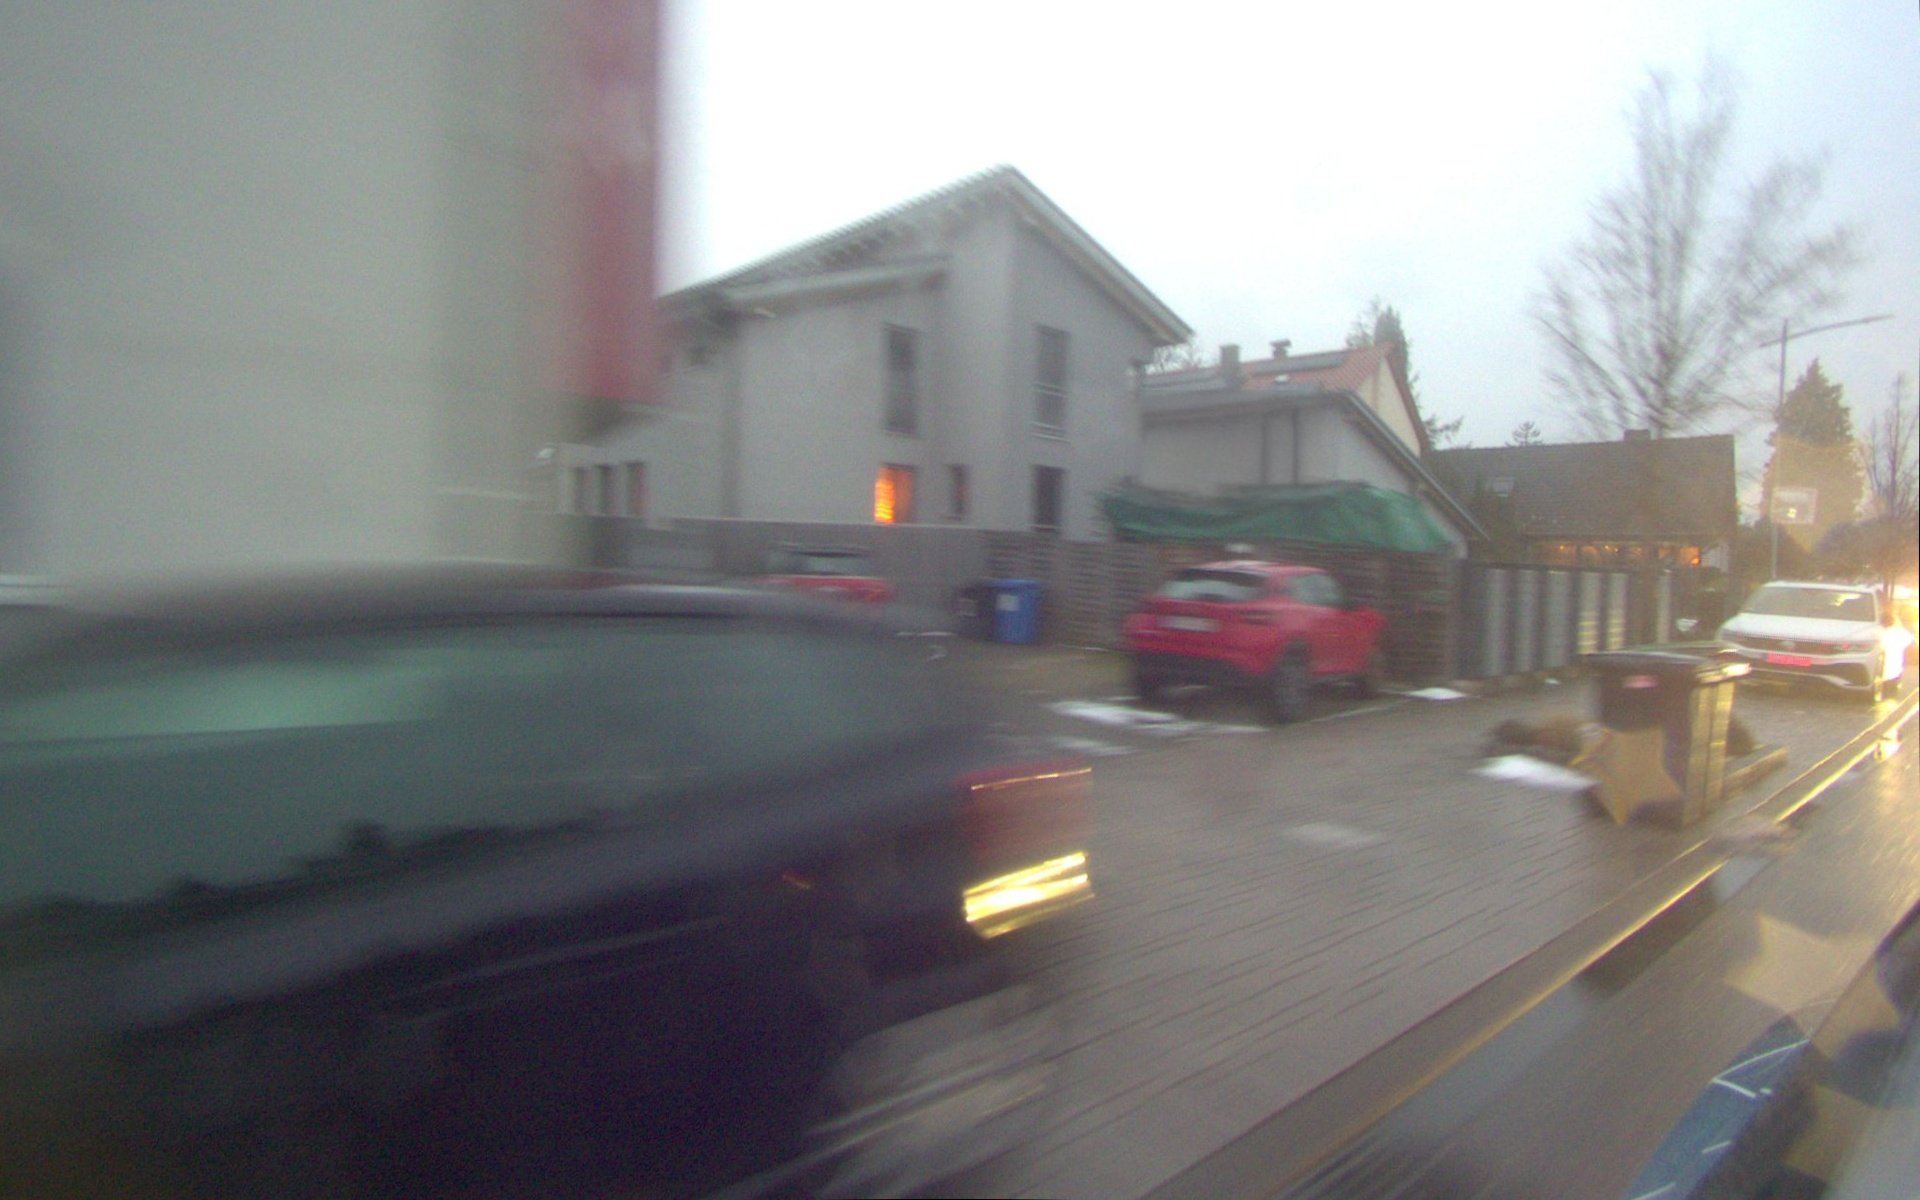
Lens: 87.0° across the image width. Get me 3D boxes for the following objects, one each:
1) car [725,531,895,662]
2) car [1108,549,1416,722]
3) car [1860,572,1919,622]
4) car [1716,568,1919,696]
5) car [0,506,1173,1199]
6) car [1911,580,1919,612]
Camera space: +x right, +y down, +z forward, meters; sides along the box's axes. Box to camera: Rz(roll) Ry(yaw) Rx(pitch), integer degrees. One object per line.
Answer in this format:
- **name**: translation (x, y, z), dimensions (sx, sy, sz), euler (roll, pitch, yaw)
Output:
- **car**: translation (-2.279, -0.118, 14.526), dimensions (1.667, 1.611, 3.783), euler (1, 2, -20)
- **car**: translation (3.610, 0.273, 11.591), dimensions (1.806, 1.571, 4.242), euler (3, 3, 40)
- **car**: translation (37.043, -0.139, 40.101), dimensions (1.910, 1.812, 4.498), euler (4, 3, 41)
- **car**: translation (12.886, 0.378, 15.028), dimensions (4.230, 1.583, 1.811), euler (0, 3, -42)
- **car**: translation (-1.551, 0.583, 1.864), dimensions (4.121, 1.469, 1.705), euler (0, 3, -43)
- **car**: translation (52.183, -0.190, 53.986), dimensions (4.492, 1.660, 1.903), euler (0, 3, -45)
